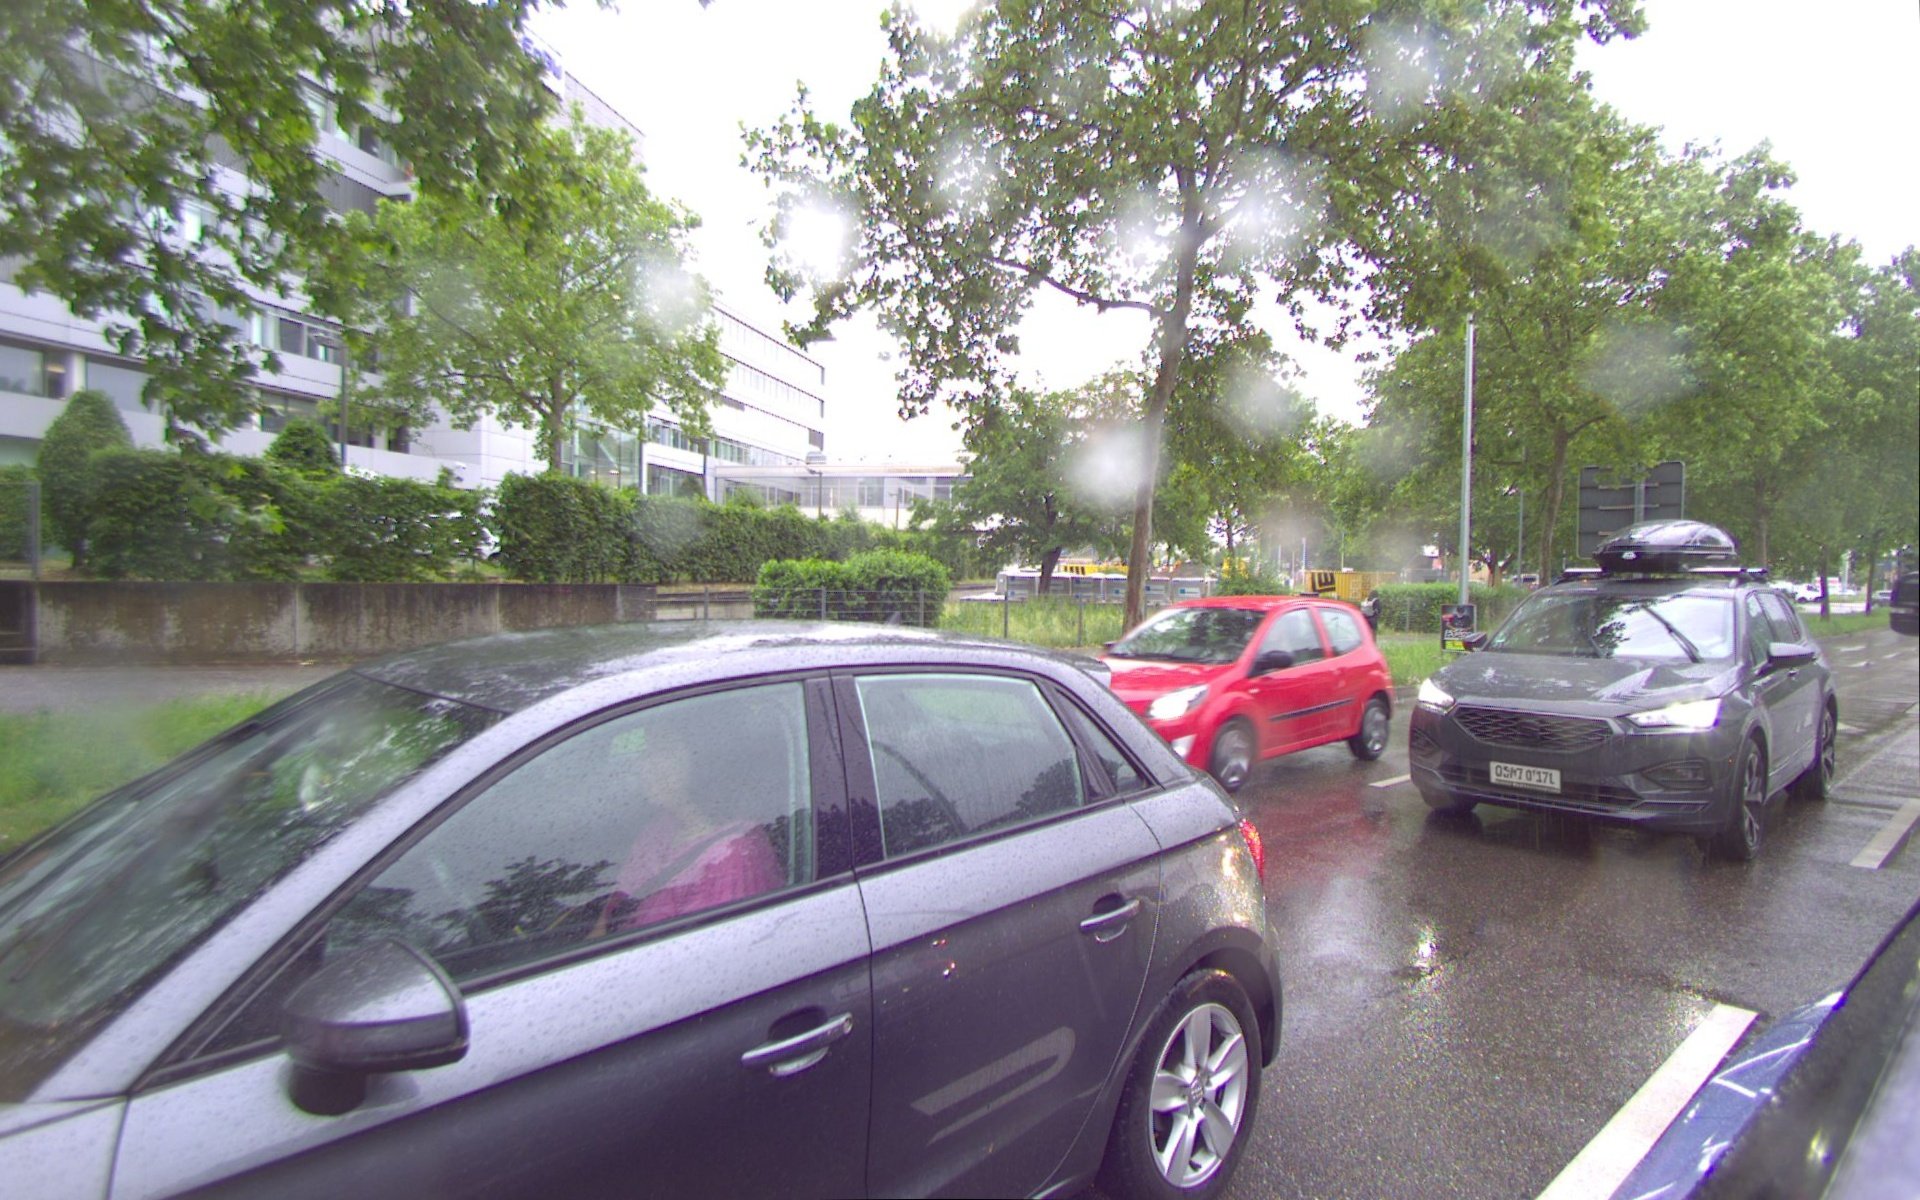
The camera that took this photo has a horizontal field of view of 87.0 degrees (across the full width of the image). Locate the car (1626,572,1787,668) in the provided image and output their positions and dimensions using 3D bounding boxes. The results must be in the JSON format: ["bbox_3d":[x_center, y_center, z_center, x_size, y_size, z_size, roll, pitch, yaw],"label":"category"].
[{"bbox_3d":[14.747,0.381,19.923,4.074,1.707,1.677,1,-1,-41],"label":"car"}]

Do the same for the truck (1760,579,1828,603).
[{"bbox_3d":[85.199,-0.899,103.461,4.988,2.406,1.785,0,0,19],"label":"truck"}]

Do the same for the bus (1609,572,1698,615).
[{"bbox_3d":[43.731,-0.409,63.912,1.681,2.600,4.366,0,0,-41],"label":"bus"}]

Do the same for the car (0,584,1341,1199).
[{"bbox_3d":[-0.929,0.701,2.115,3.715,1.446,1.679,0,1,-41],"label":"car"}]

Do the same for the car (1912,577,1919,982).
[{"bbox_3d":[6.325,0.179,4.954,5.599,2.544,2.024,0,1,-43],"label":"car"}]

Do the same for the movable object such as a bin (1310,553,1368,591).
[{"bbox_3d":[35.934,-2.648,96.060,4.855,3.478,1.914,0,0,8],"label":"movable object such as a bin"}]

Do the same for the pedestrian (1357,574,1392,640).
[{"bbox_3d":[11.187,0.184,27.316,0.645,1.738,0.645,0,0,-40],"label":"pedestrian"}]

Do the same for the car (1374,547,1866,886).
[{"bbox_3d":[4.936,0.566,7.295,4.347,1.719,1.892,0,1,-42],"label":"car"}]

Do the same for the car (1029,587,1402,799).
[{"bbox_3d":[2.320,0.645,8.805,3.331,1.481,1.571,0,0,-42],"label":"car"}]
